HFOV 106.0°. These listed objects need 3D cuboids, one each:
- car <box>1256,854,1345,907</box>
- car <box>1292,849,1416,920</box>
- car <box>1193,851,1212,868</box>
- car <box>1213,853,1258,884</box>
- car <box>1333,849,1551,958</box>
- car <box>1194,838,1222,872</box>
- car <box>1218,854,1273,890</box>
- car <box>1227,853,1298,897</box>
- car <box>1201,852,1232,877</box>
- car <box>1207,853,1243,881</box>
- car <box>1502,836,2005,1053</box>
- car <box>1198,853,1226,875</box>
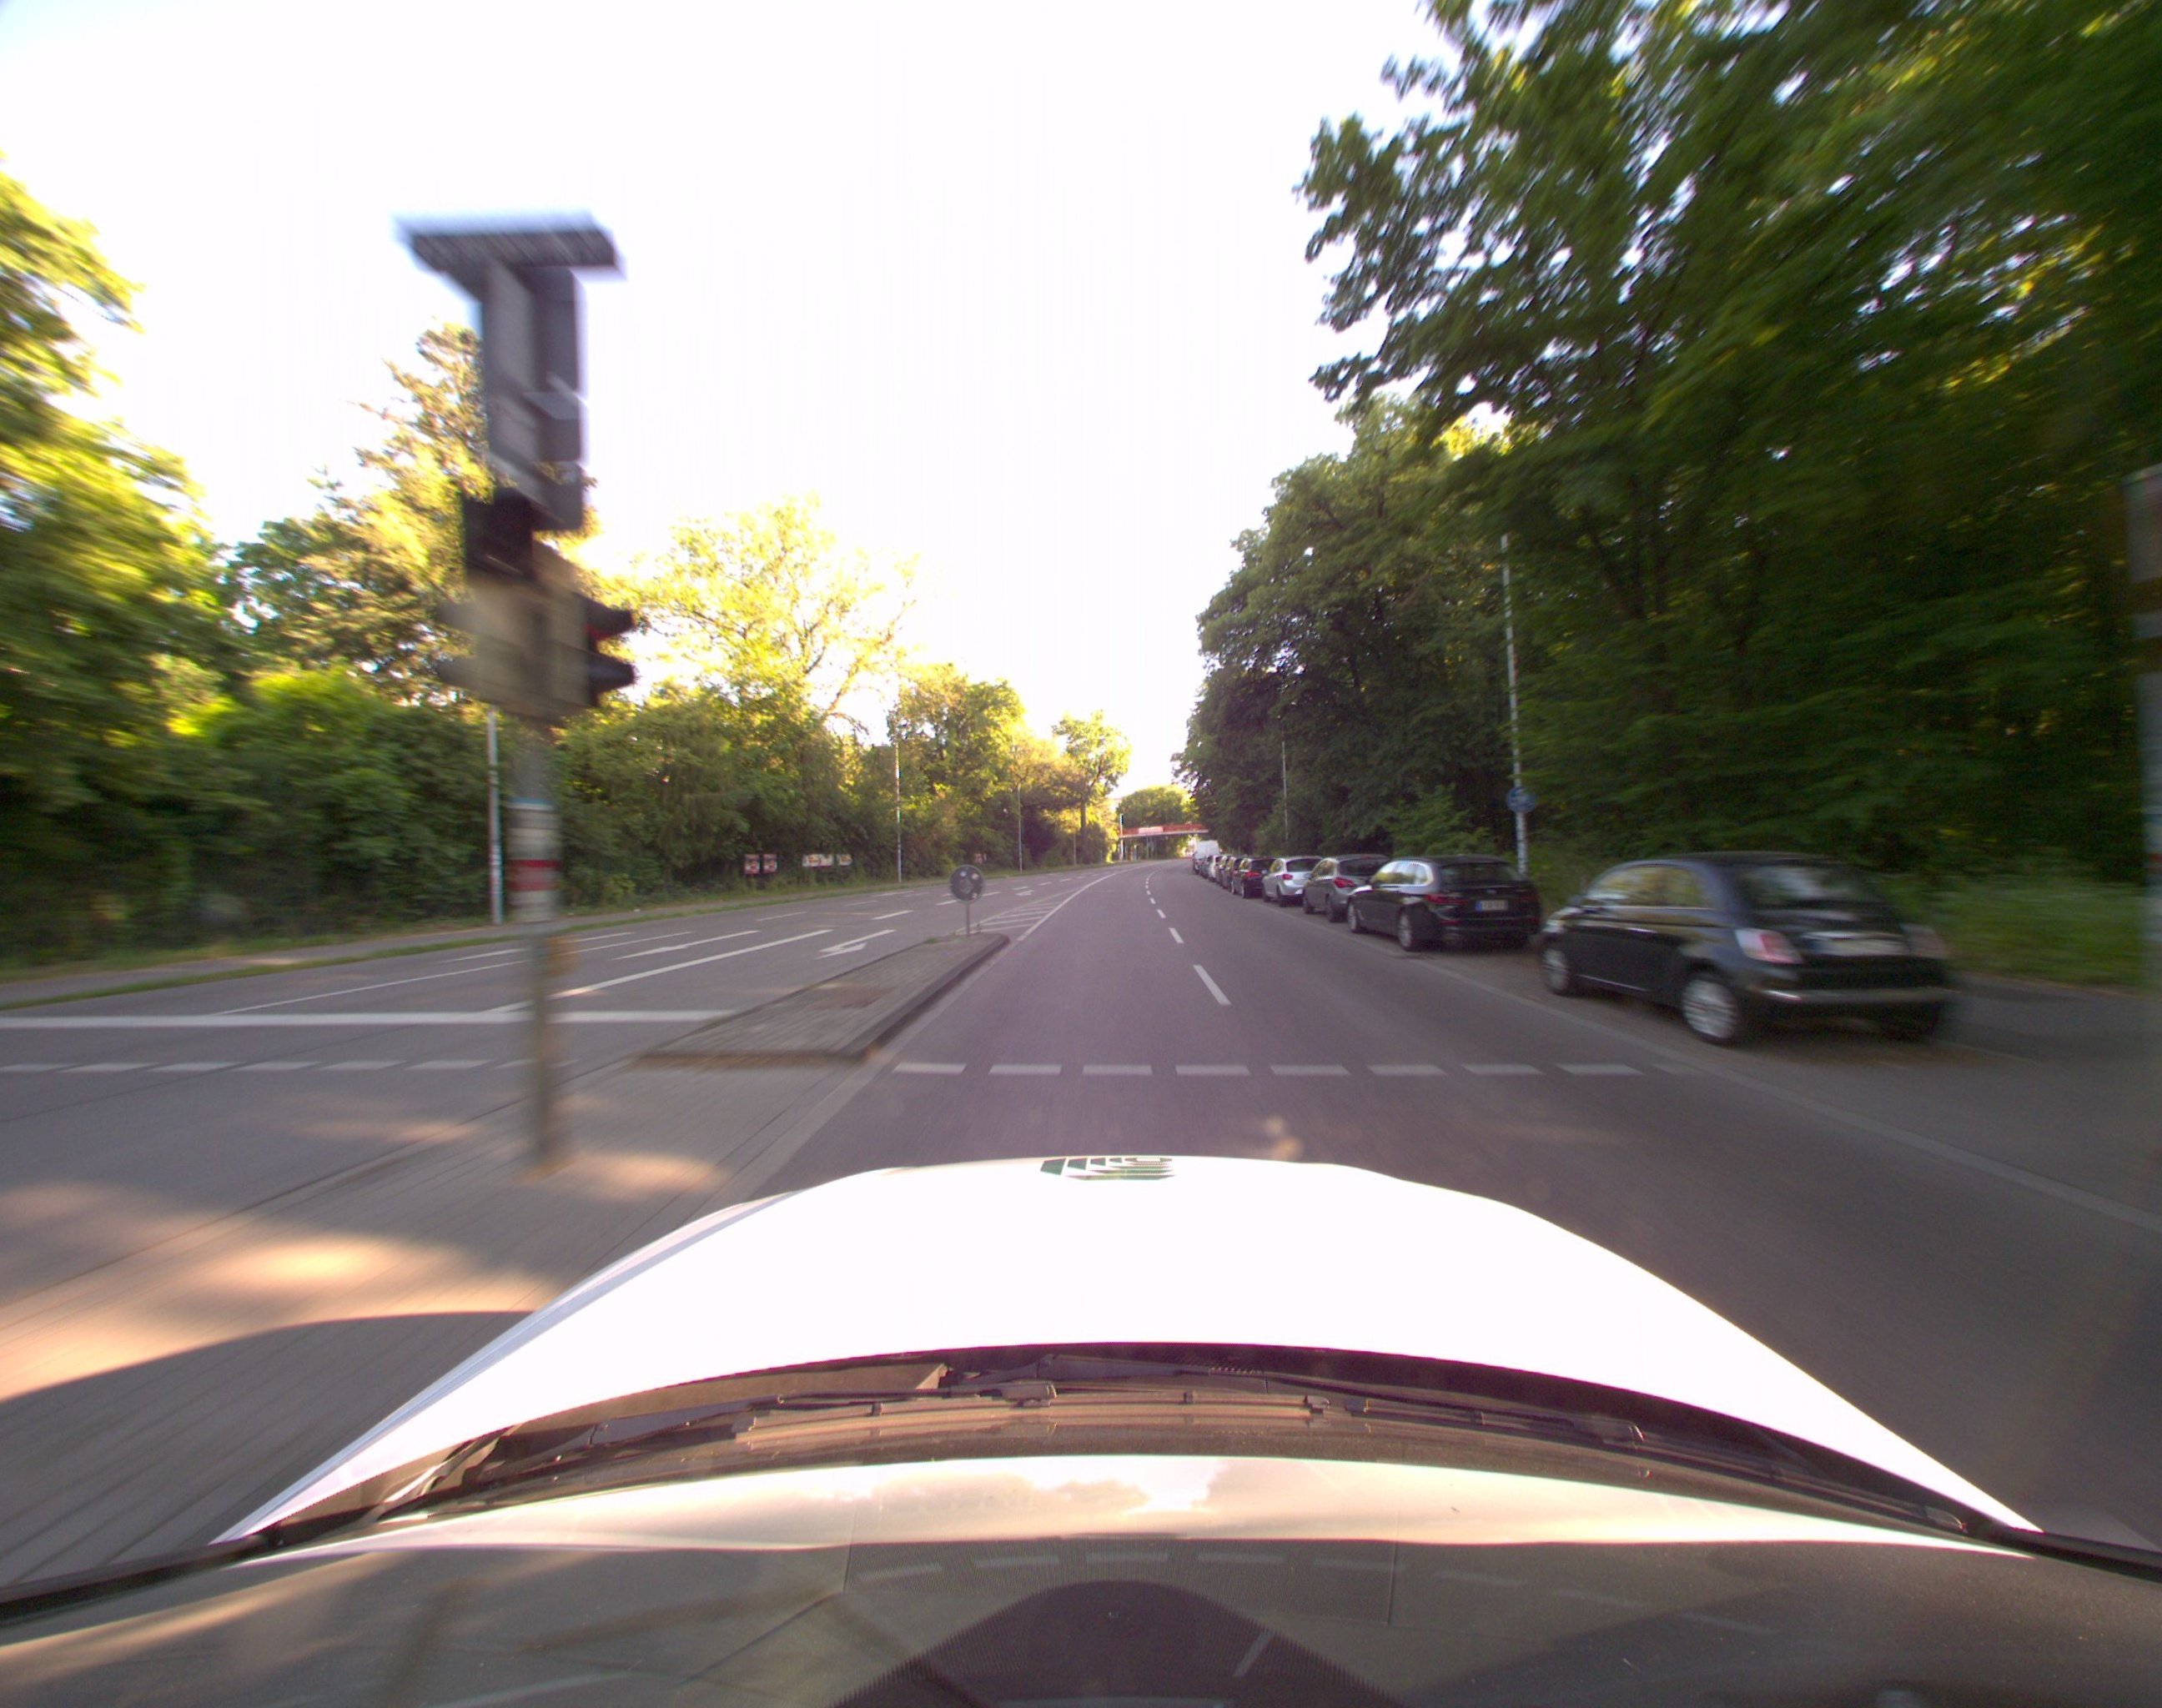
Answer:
[{"bbox_3d":[6.589,0.763,24.882,1.711,1.411,4.127,-3,-1,3],"label":"car"},{"bbox_3d":[6.427,0.676,19.679,1.711,1.469,4.205,-3,-1,3],"label":"car"},{"bbox_3d":[11.421,0.499,76.492,1.668,1.535,4.363,-3,-1,8],"label":"car"},{"bbox_3d":[7.616,0.695,40.561,1.709,1.411,4.914,-3,-1,6],"label":"car"},{"bbox_3d":[5.926,0.724,14.117,1.711,1.469,4.991,-3,-1,3],"label":"car"},{"bbox_3d":[9.871,0.076,63.588,1.893,2.423,5.587,-3,-1,8],"label":"car"},{"bbox_3d":[7.030,0.740,35.211,1.710,1.411,4.492,-3,-1,4],"label":"car"},{"bbox_3d":[6.550,0.726,29.835,1.711,1.411,4.490,-3,-1,3],"label":"car"},{"bbox_3d":[8.573,0.675,51.817,1.669,1.464,4.074,-3,-1,6],"label":"car"},{"bbox_3d":[8.075,0.700,46.024,1.669,1.464,3.694,-3,-1,5],"label":"car"},{"bbox_3d":[5.755,0.660,7.687,1.711,1.469,3.759,-3,-1,3],"label":"car"},{"bbox_3d":[9.201,0.679,57.540,1.669,1.400,4.659,-3,-1,6],"label":"car"}]
